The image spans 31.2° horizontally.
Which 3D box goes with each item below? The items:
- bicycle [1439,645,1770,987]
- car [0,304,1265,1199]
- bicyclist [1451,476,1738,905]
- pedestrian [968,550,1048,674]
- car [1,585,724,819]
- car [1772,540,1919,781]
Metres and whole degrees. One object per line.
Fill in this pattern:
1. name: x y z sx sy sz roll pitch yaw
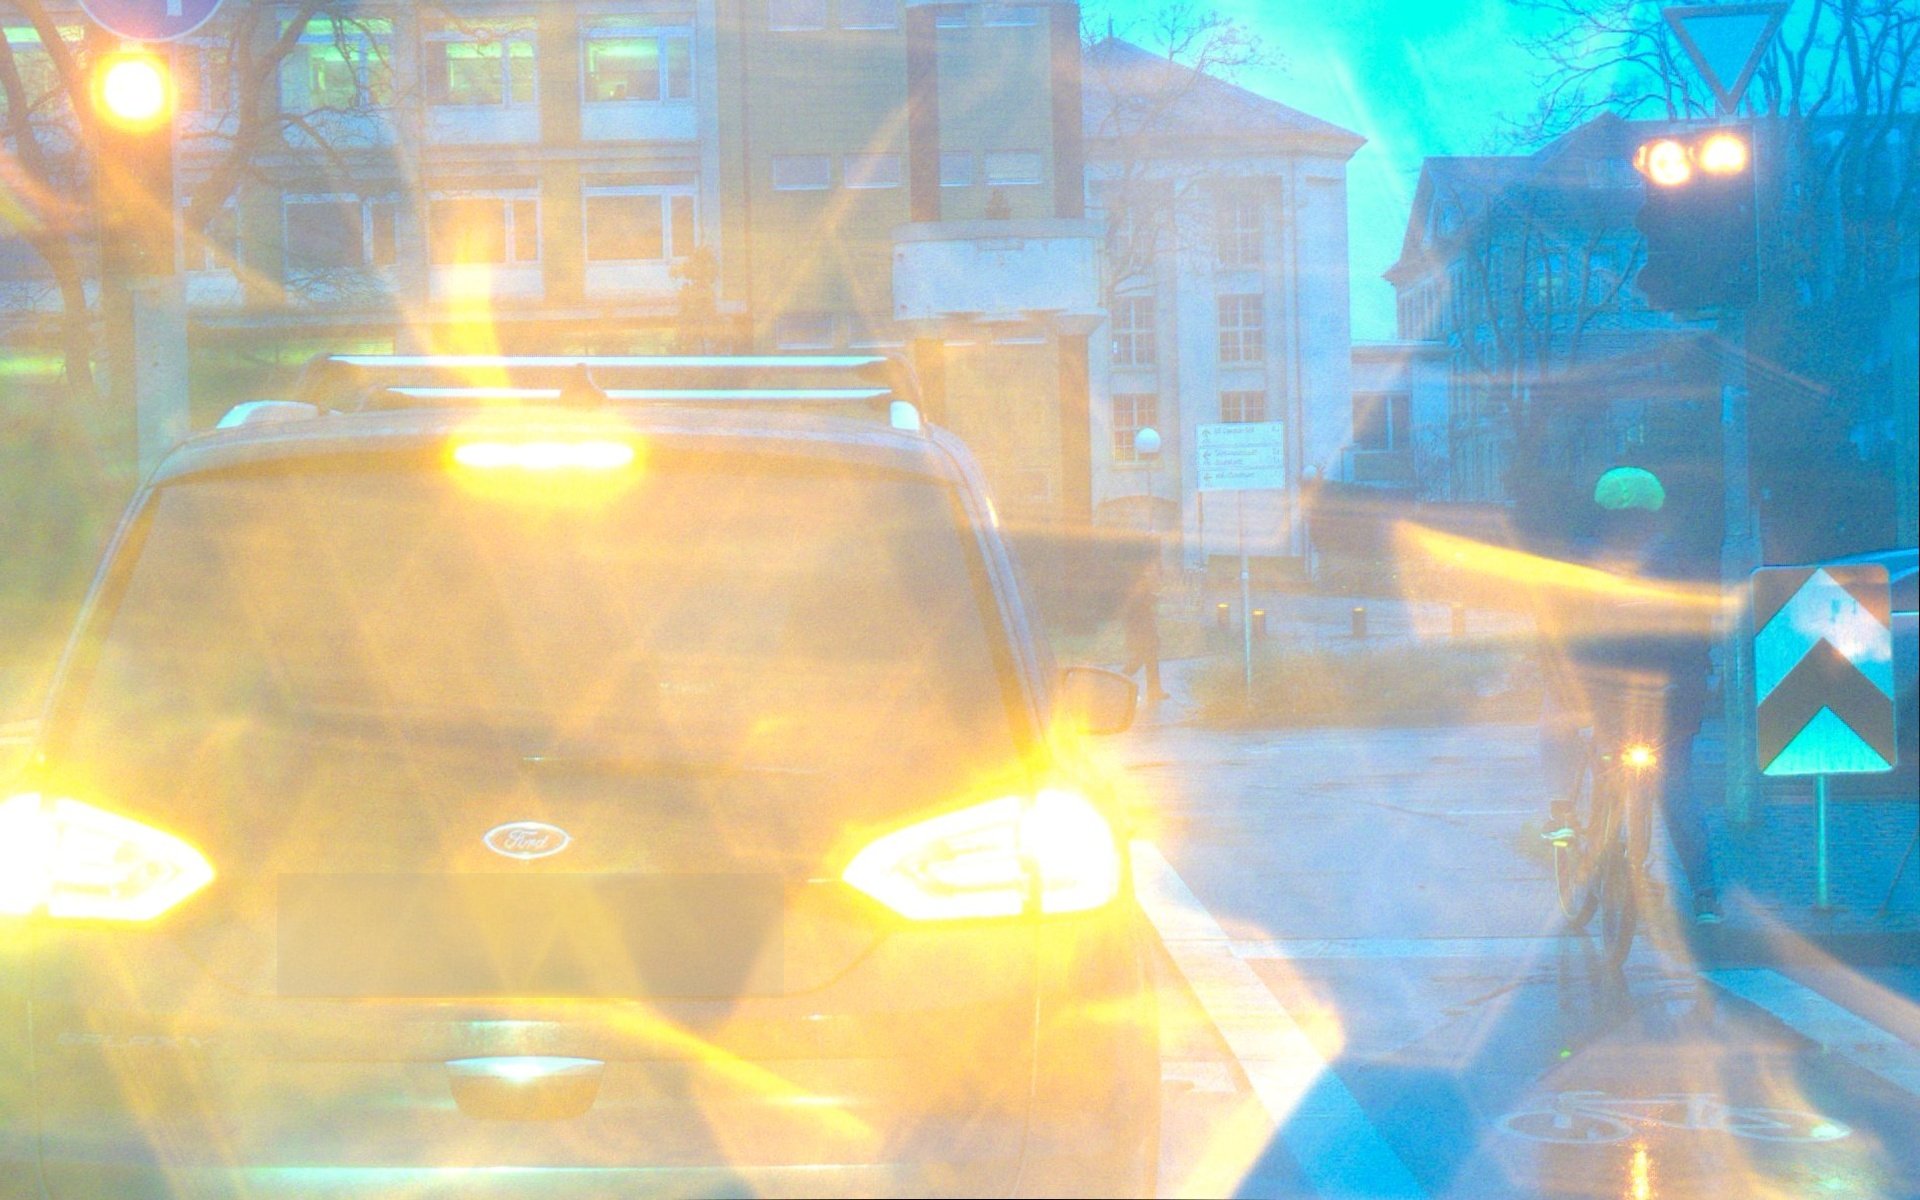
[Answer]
1. bicycle: 2.263 0.726 12.327 0.783 1.071 1.957 1 1 -1
2. car: -0.627 0.489 6.563 1.993 1.783 4.000 1 1 -1
3. bicyclist: 2.239 0.303 12.258 0.783 1.448 1.134 1 0 -1
4. pedestrian: 0.623 0.148 44.217 0.924 1.527 1.043 -2 1 4
5. car: -4.164 0.702 24.266 4.658 1.472 1.810 -2 0 10
6. car: 7.644 0.316 21.877 4.658 1.472 1.810 -2 0 9
